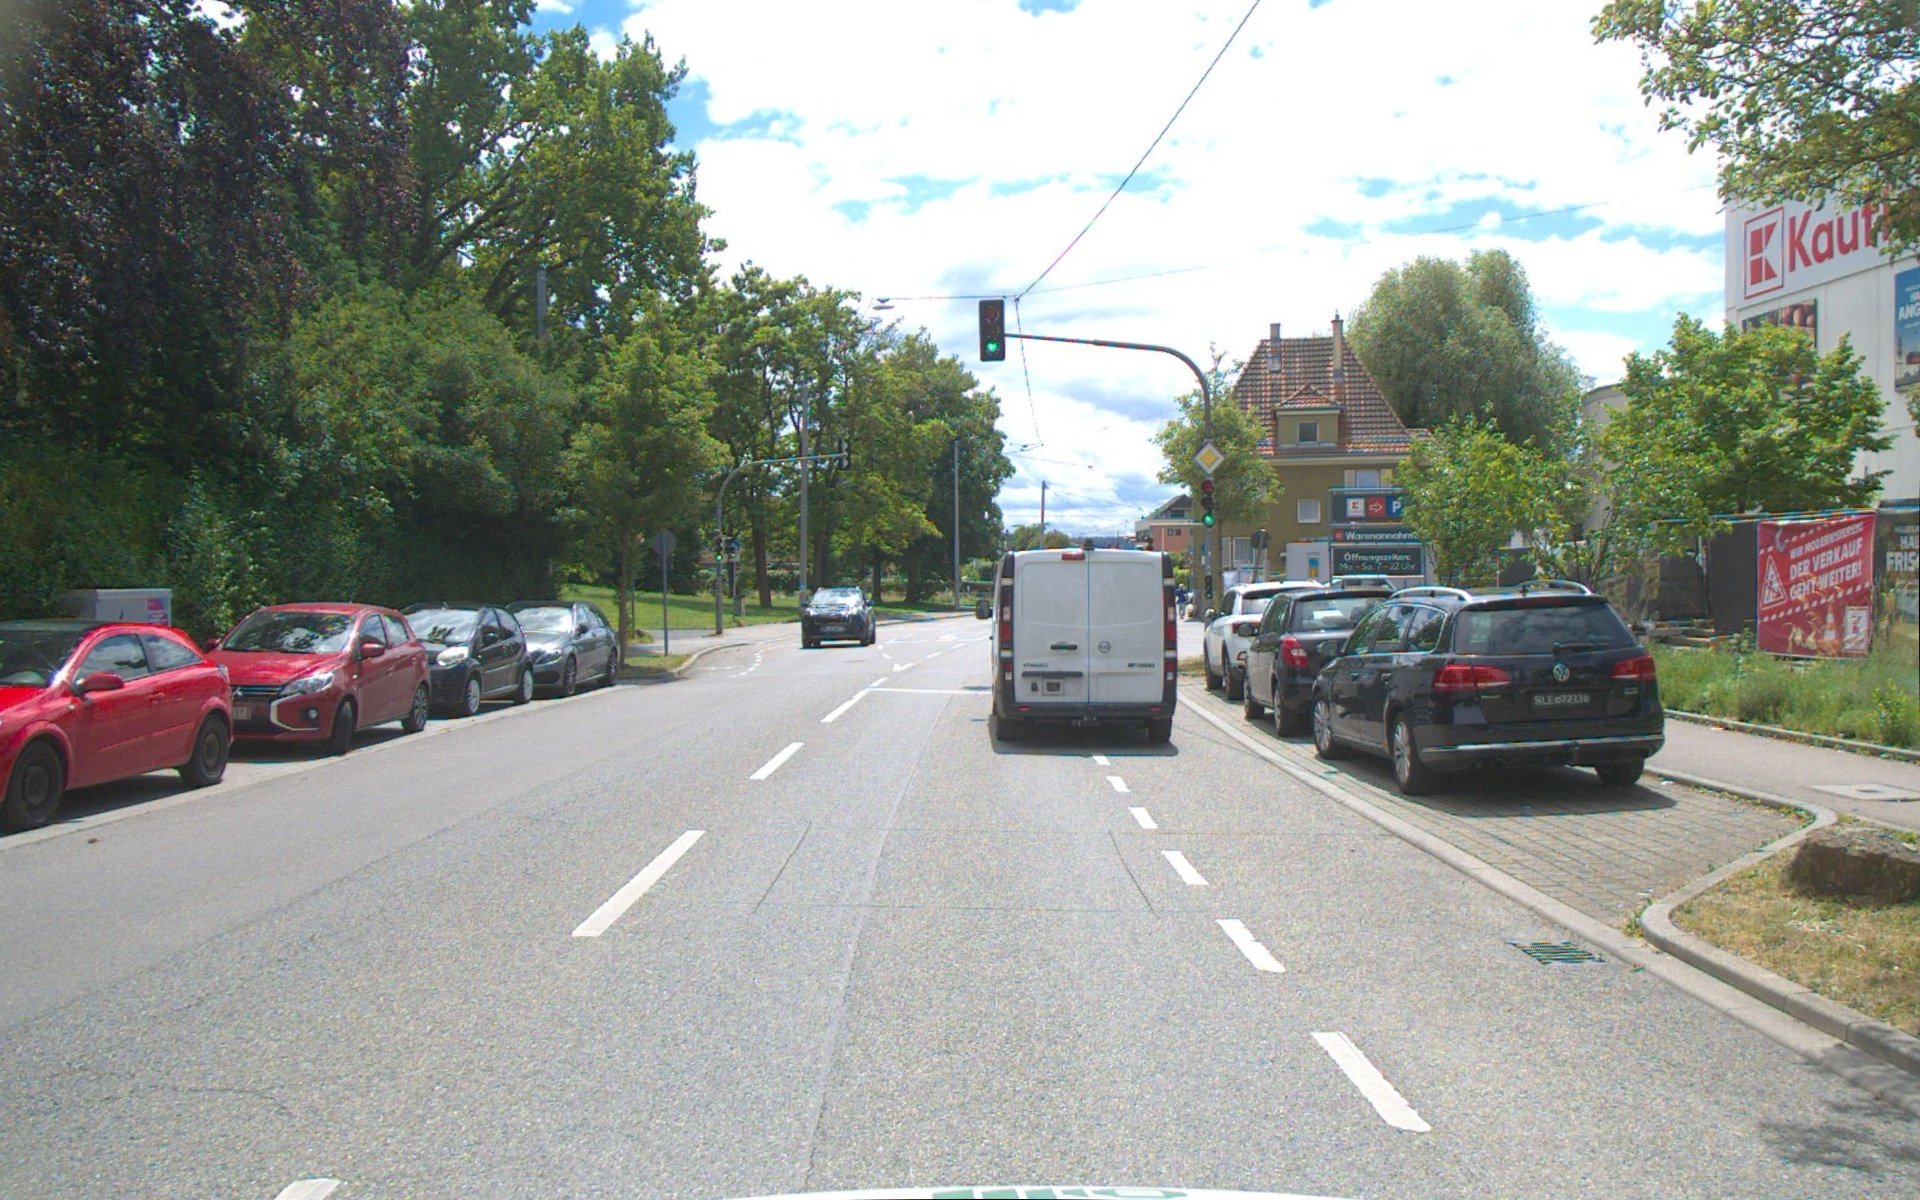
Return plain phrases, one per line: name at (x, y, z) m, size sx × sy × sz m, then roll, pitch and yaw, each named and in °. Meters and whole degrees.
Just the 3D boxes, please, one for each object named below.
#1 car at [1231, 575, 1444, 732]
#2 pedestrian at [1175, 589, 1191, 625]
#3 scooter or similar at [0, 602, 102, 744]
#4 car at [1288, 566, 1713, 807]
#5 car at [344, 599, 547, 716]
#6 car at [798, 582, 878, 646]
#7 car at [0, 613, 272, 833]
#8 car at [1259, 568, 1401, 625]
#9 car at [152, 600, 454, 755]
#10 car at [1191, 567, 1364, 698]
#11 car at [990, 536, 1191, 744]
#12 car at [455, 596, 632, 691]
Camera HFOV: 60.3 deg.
car at (4.109, 0.526, 18.570) m, size 1.536 × 1.519 × 4.001 m, roll -2°, pitch 0°, yaw 2°
pedestrian at (10.088, 0.306, 74.879) m, size 0.664 × 1.580 × 0.836 m, roll -3°, pitch -2°, yaw 7°
scooter or similar at (-9.991, 0.745, 17.740) m, size 0.656 × 1.437 × 1.650 m, roll 0°, pitch 0°, yaw 3°
car at (4.108, 0.572, 13.542) m, size 1.729 × 1.502 × 4.935 m, roll -4°, pitch 0°, yaw -1°
car at (-7.028, 0.737, 22.939) m, size 1.562 × 1.476 × 3.597 m, roll 0°, pitch 0°, yaw 2°
car at (-3.387, 0.370, 46.573) m, size 1.795 × 1.645 × 4.153 m, roll -2°, pitch 0°, yaw 1°
car at (-7.124, 0.832, 12.761) m, size 1.626 × 1.402 × 4.567 m, roll 0°, pitch 0°, yaw 1°
car at (10.865, -0.116, 48.794) m, size 3.903 × 1.634 × 1.609 m, roll 0°, pitch 1°, yaw 5°
car at (-6.989, 0.753, 18.066) m, size 1.615 × 1.476 × 4.105 m, roll 0°, pitch 0°, yaw 1°
car at (4.522, 0.426, 24.189) m, size 1.701 × 1.644 × 4.387 m, roll -3°, pitch 0°, yaw 1°
car at (1.318, 0.376, 18.527) m, size 1.899 × 1.995 × 4.833 m, roll 1°, pitch 0°, yaw 1°
car at (-6.732, 0.648, 27.242) m, size 1.660 × 1.389 × 4.687 m, roll 1°, pitch 0°, yaw 1°
